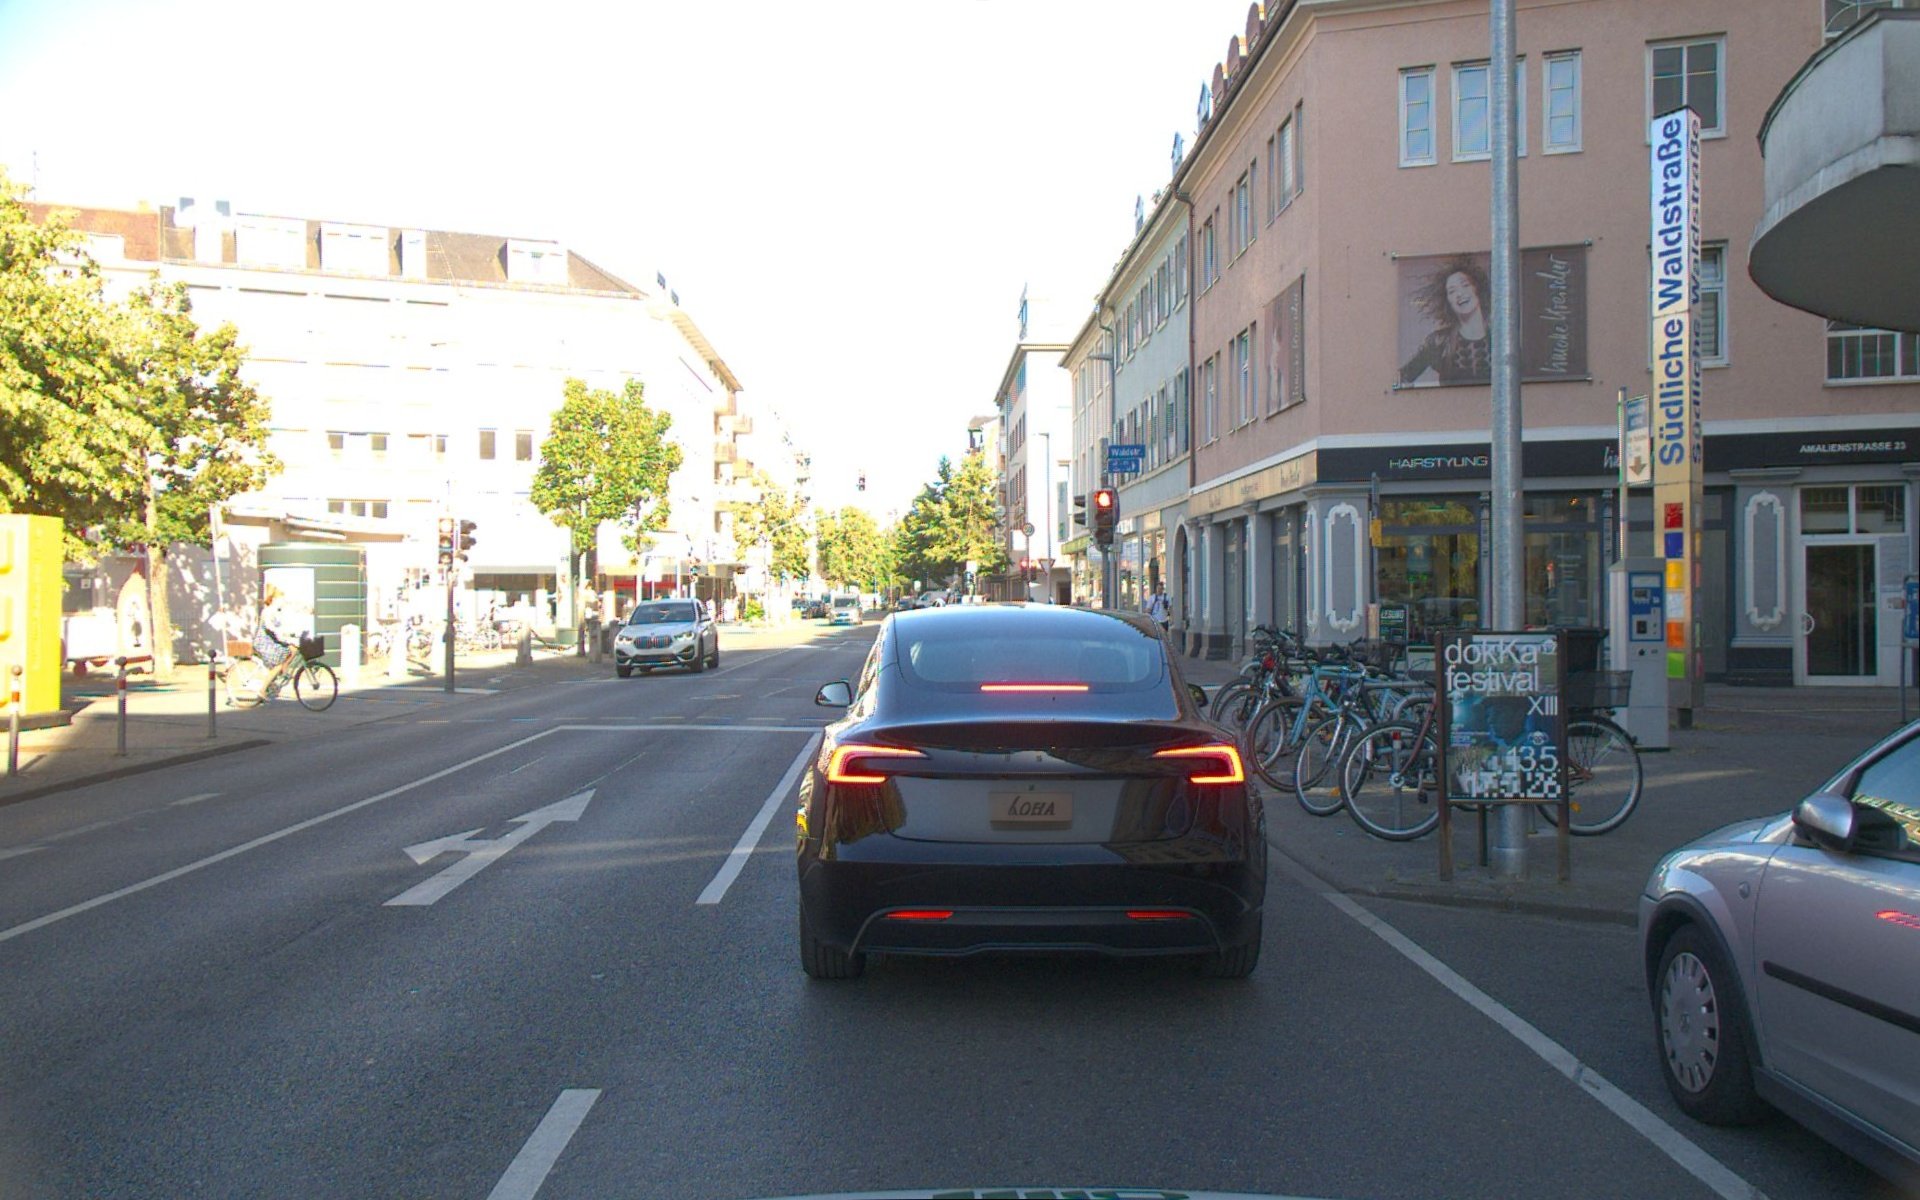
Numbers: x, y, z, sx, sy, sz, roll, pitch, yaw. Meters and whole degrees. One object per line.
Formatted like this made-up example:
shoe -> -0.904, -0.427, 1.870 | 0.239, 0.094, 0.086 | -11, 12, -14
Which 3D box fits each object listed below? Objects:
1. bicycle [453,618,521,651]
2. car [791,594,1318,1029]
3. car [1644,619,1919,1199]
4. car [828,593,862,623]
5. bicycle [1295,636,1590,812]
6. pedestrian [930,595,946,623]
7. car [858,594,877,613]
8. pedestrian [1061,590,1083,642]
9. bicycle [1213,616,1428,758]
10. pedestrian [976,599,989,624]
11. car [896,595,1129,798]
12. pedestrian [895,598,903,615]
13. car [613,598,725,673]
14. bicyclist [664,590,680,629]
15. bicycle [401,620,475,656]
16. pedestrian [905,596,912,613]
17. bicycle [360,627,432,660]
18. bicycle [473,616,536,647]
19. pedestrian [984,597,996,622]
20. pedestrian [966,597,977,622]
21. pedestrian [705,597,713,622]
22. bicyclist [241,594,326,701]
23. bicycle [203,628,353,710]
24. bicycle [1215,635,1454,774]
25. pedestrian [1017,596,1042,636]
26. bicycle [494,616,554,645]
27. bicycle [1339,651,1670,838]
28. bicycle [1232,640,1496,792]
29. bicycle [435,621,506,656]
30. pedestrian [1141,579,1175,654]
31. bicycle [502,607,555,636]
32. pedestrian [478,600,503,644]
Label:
bicycle -> -14.168, 1.035, 49.565 | 1.826, 0.950, 0.606 | 1, 0, -2
car -> 0.296, 0.726, 7.610 | 1.785, 1.467, 3.999 | 0, 0, -1
car -> 2.918, 0.764, 3.499 | 1.515, 1.415, 3.476 | 0, 0, 0
car -> -6.731, 0.467, 97.158 | 1.751, 1.675, 4.401 | 1, 0, -1
bicycle -> 3.243, 0.832, 11.195 | 1.834, 1.106, 0.414 | -2, -1, 3
pedestrian -> -1.357, 0.576, 103.677 | 0.708, 1.725, 0.843 | 0, 0, -28
car -> -10.457, 0.354, 187.078 | 1.953, 2.049, 3.999 | 1, 0, -1
pedestrian -> 3.862, 0.549, 57.019 | 0.692, 1.773, 0.540 | 0, 0, -1
bicycle -> 3.201, 0.771, 14.788 | 1.789, 1.189, 0.506 | -2, -1, 5
pedestrian -> 1.291, 0.648, 95.179 | 0.516, 1.447, 0.474 | 1, -1, -31
car -> 0.312, 0.690, 13.824 | 1.683, 1.450, 3.755 | 0, 0, -2
pedestrian -> -7.550, 0.794, 203.550 | 0.912, 2.049, 0.938 | 1, -1, -1
car -> -6.290, 0.744, 36.091 | 1.752, 1.485, 3.756 | -2, 0, -1
bicyclist -> -11.489, 0.385, 65.970 | 0.516, 1.530, 0.472 | 1, -1, -26
bicycle -> -14.190, 1.029, 44.981 | 1.826, 0.950, 0.606 | 0, 0, -2
pedestrian -> -6.356, 0.524, 203.952 | 0.912, 2.049, 0.938 | 1, -1, -1
bicycle -> -14.452, 1.112, 42.394 | 1.612, 0.806, 0.606 | 1, 0, -5
bicycle -> -14.336, 0.983, 52.079 | 1.826, 0.950, 0.606 | 0, 0, -2
pedestrian -> 1.732, 0.529, 95.792 | 0.516, 1.447, 0.474 | 1, -1, -31
pedestrian -> 0.664, 0.540, 95.819 | 0.467, 1.442, 0.516 | 1, -1, -32
pedestrian -> -14.552, 0.550, 95.922 | 0.451, 1.486, 0.517 | 0, 0, -6
bicyclist -> -9.800, 0.682, 23.970 | 0.871, 1.508, 0.702 | 1, 0, 8
bicycle -> -9.874, 0.988, 23.975 | 1.893, 1.137, 0.709 | 0, 0, 8
bicycle -> 3.064, 0.853, 13.639 | 1.833, 1.056, 0.548 | -2, -1, 5
pedestrian -> 2.902, 0.679, 69.405 | 0.742, 1.660, 0.951 | 1, -1, -18
bicycle -> -14.372, 0.993, 54.527 | 1.826, 0.950, 0.606 | 0, 0, -2
bicycle -> 3.264, 0.869, 10.002 | 1.833, 1.056, 0.353 | -2, -1, 6
bicycle -> 3.025, 0.868, 12.486 | 1.834, 1.056, 0.533 | -2, -1, 3
bicycle -> -13.932, 1.089, 47.094 | 1.826, 0.950, 0.606 | 1, 0, -2
pedestrian -> 4.752, 0.395, 39.760 | 0.735, 1.796, 0.837 | 1, -1, 3
bicycle -> -20.259, 1.025, 77.688 | 2.334, 1.318, 0.509 | 1, -1, -27
pedestrian -> -22.161, 1.039, 78.005 | 1.041, 2.049, 1.049 | 1, -1, -20
